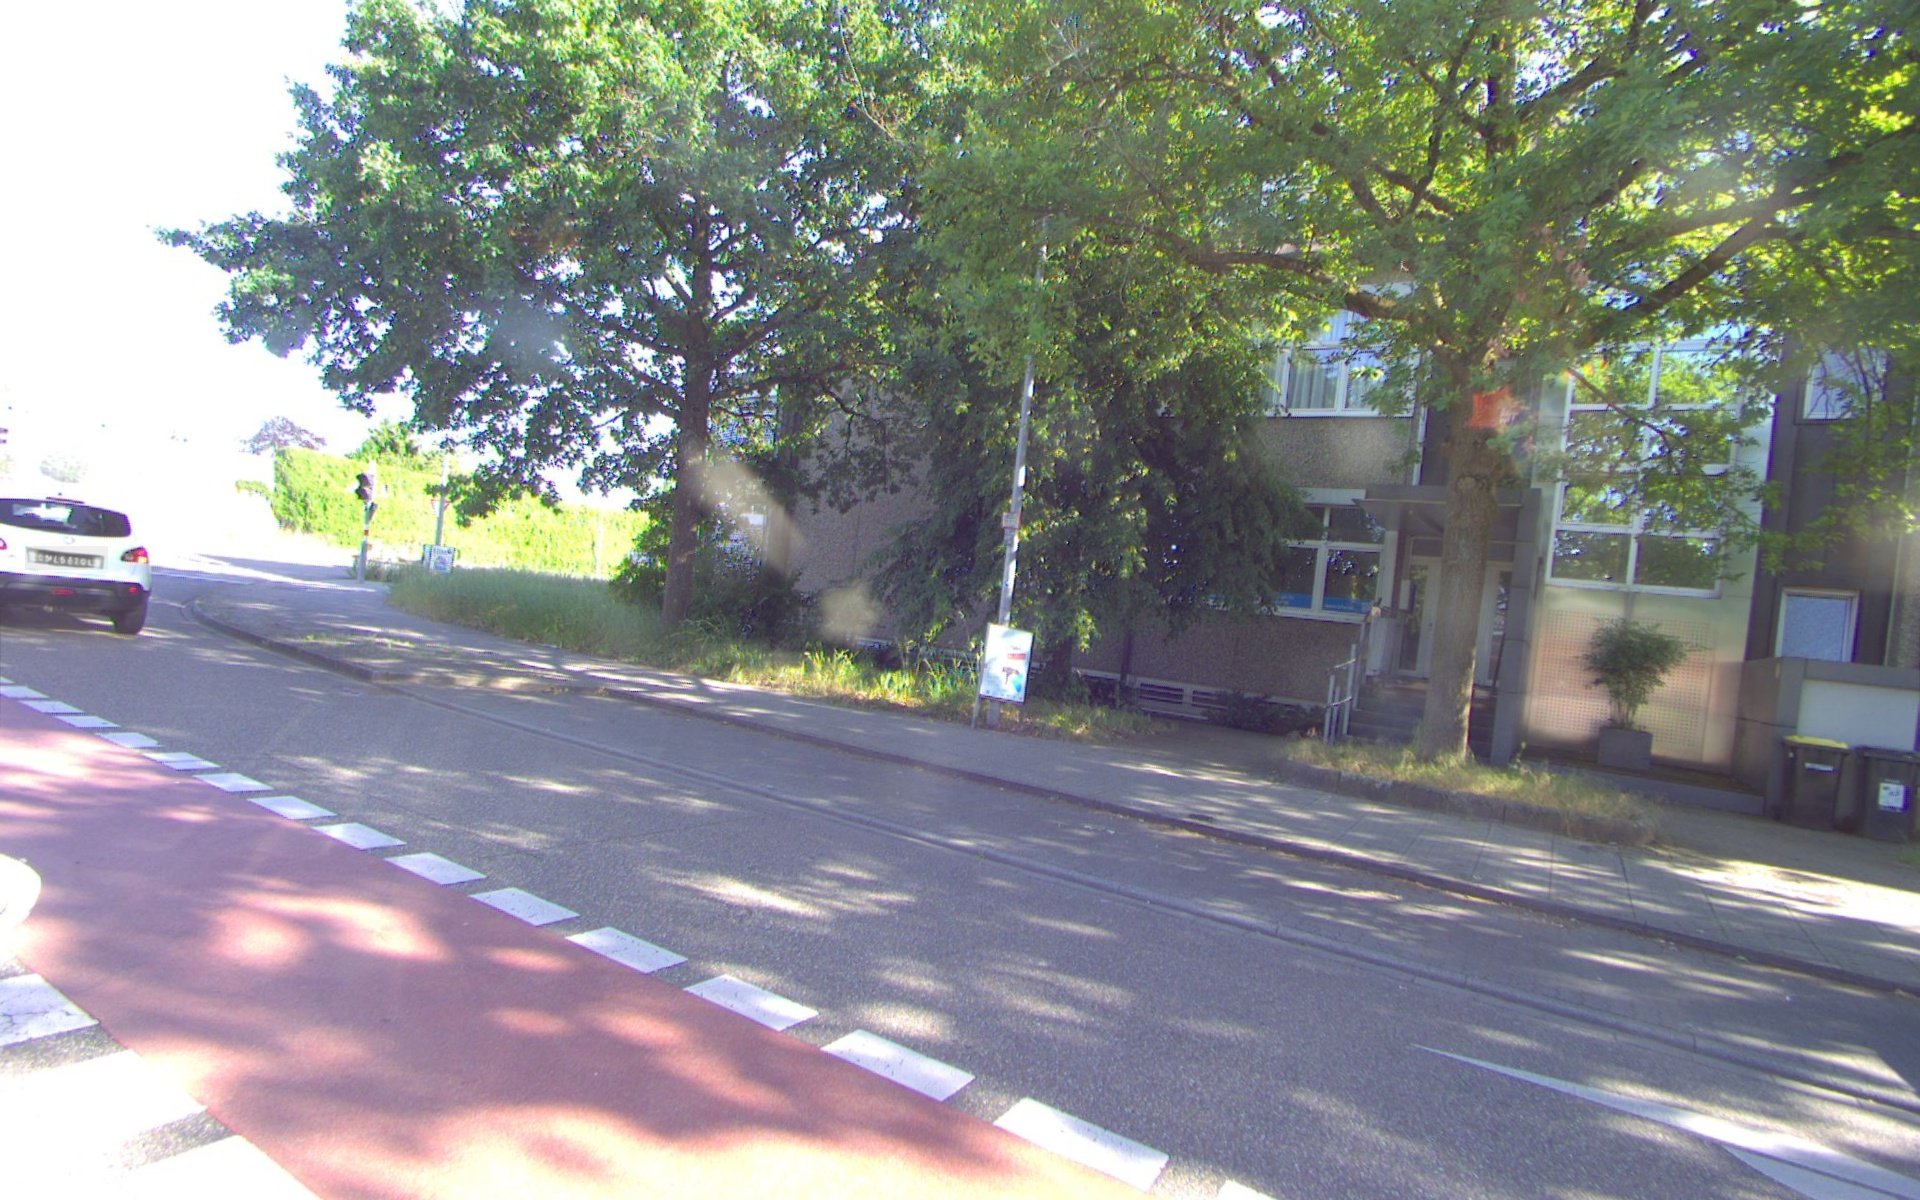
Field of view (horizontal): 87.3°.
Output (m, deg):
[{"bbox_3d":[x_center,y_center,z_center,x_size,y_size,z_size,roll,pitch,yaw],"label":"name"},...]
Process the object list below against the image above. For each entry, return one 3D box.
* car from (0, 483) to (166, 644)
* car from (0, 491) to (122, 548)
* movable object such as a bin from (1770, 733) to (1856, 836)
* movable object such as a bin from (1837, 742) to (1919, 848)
[{"bbox_3d":[-11.513,-0.549,12.489,4.009,1.626,1.716,7,-1,40],"label":"car"},{"bbox_3d":[-41.214,-3.660,46.003,1.893,1.836,3.991,6,-2,35],"label":"car"},{"bbox_3d":[10.168,2.183,12.011,0.575,1.070,0.625,7,0,30],"label":"movable object such as a bin"},{"bbox_3d":[10.756,2.252,11.718,0.605,1.075,0.634,6,0,30],"label":"movable object such as a bin"}]
